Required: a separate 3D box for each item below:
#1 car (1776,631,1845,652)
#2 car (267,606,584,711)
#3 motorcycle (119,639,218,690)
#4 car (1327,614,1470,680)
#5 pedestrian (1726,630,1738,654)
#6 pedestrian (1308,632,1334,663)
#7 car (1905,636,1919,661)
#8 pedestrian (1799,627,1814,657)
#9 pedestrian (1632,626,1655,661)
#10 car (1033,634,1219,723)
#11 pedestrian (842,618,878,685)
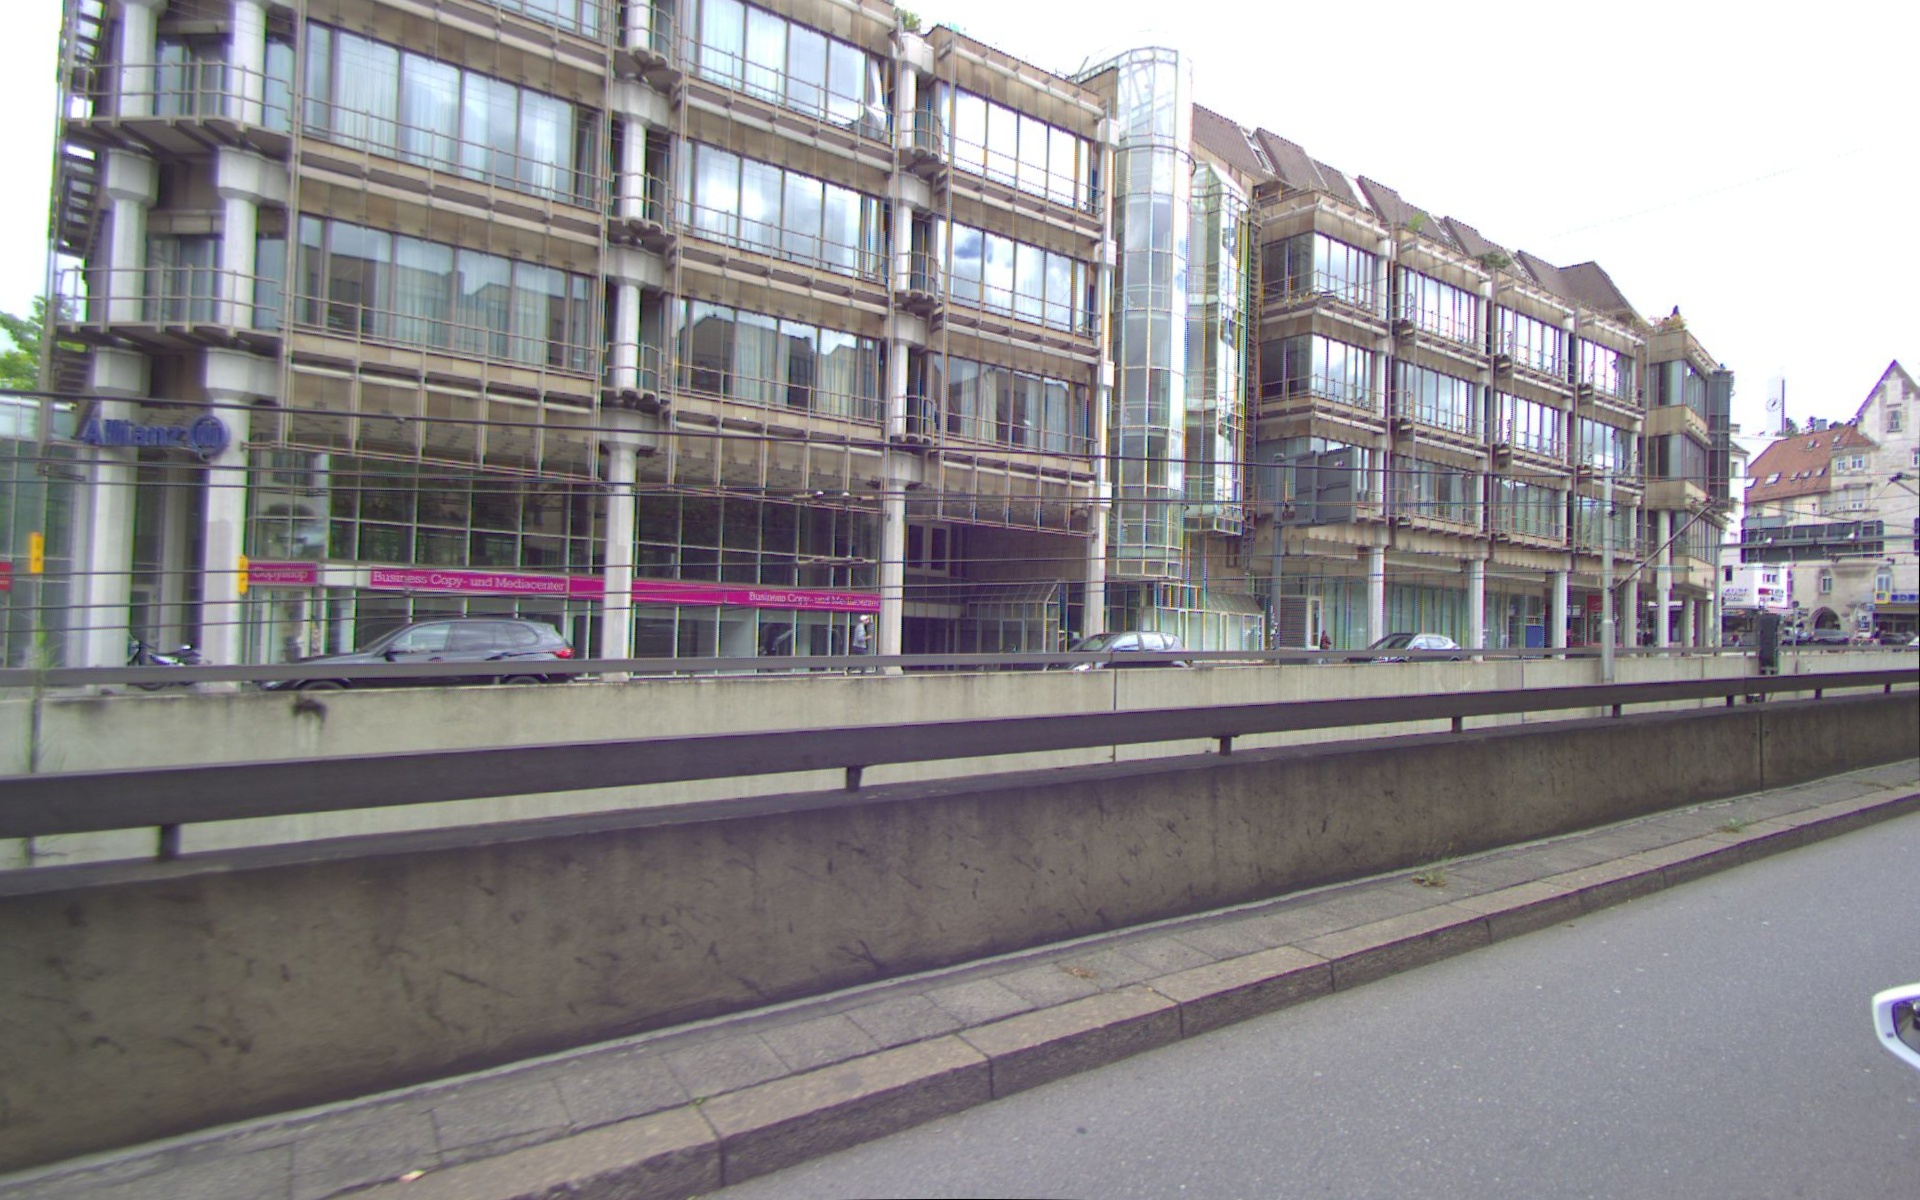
[{"bbox_3d":[64.824,3.150,76.659,3.981,1.521,1.662,0,-1,39],"label":"car"},{"bbox_3d":[-9.076,0.959,17.263,4.595,1.581,1.802,2,-2,-35],"label":"car"},{"bbox_3d":[-18.157,1.455,23.077,0.634,1.089,1.667,2,0,37],"label":"motorcycle"},{"bbox_3d":[14.058,1.473,32.111,4.740,1.989,1.981,1,-2,-34],"label":"car"},{"bbox_3d":[58.953,3.213,76.712,0.569,1.803,0.508,1,-1,-24],"label":"pedestrian"},{"bbox_3d":[15.447,2.012,42.936,0.731,1.282,0.726,2,0,-32],"label":"pedestrian"},{"bbox_3d":[60.662,3.020,62.452,4.363,1.521,1.655,1,-1,-31],"label":"car"},{"bbox_3d":[51.654,2.551,61.305,0.569,1.803,0.508,1,-1,-24],"label":"pedestrian"},{"bbox_3d":[36.242,2.317,53.285,0.731,1.835,0.726,2,0,-32],"label":"pedestrian"},{"bbox_3d":[4.148,1.902,24.907,4.332,1.939,1.982,3,-1,-33],"label":"car"},{"bbox_3d":[-2.777,1.424,27.917,0.731,1.816,0.726,2,0,-32],"label":"pedestrian"}]
